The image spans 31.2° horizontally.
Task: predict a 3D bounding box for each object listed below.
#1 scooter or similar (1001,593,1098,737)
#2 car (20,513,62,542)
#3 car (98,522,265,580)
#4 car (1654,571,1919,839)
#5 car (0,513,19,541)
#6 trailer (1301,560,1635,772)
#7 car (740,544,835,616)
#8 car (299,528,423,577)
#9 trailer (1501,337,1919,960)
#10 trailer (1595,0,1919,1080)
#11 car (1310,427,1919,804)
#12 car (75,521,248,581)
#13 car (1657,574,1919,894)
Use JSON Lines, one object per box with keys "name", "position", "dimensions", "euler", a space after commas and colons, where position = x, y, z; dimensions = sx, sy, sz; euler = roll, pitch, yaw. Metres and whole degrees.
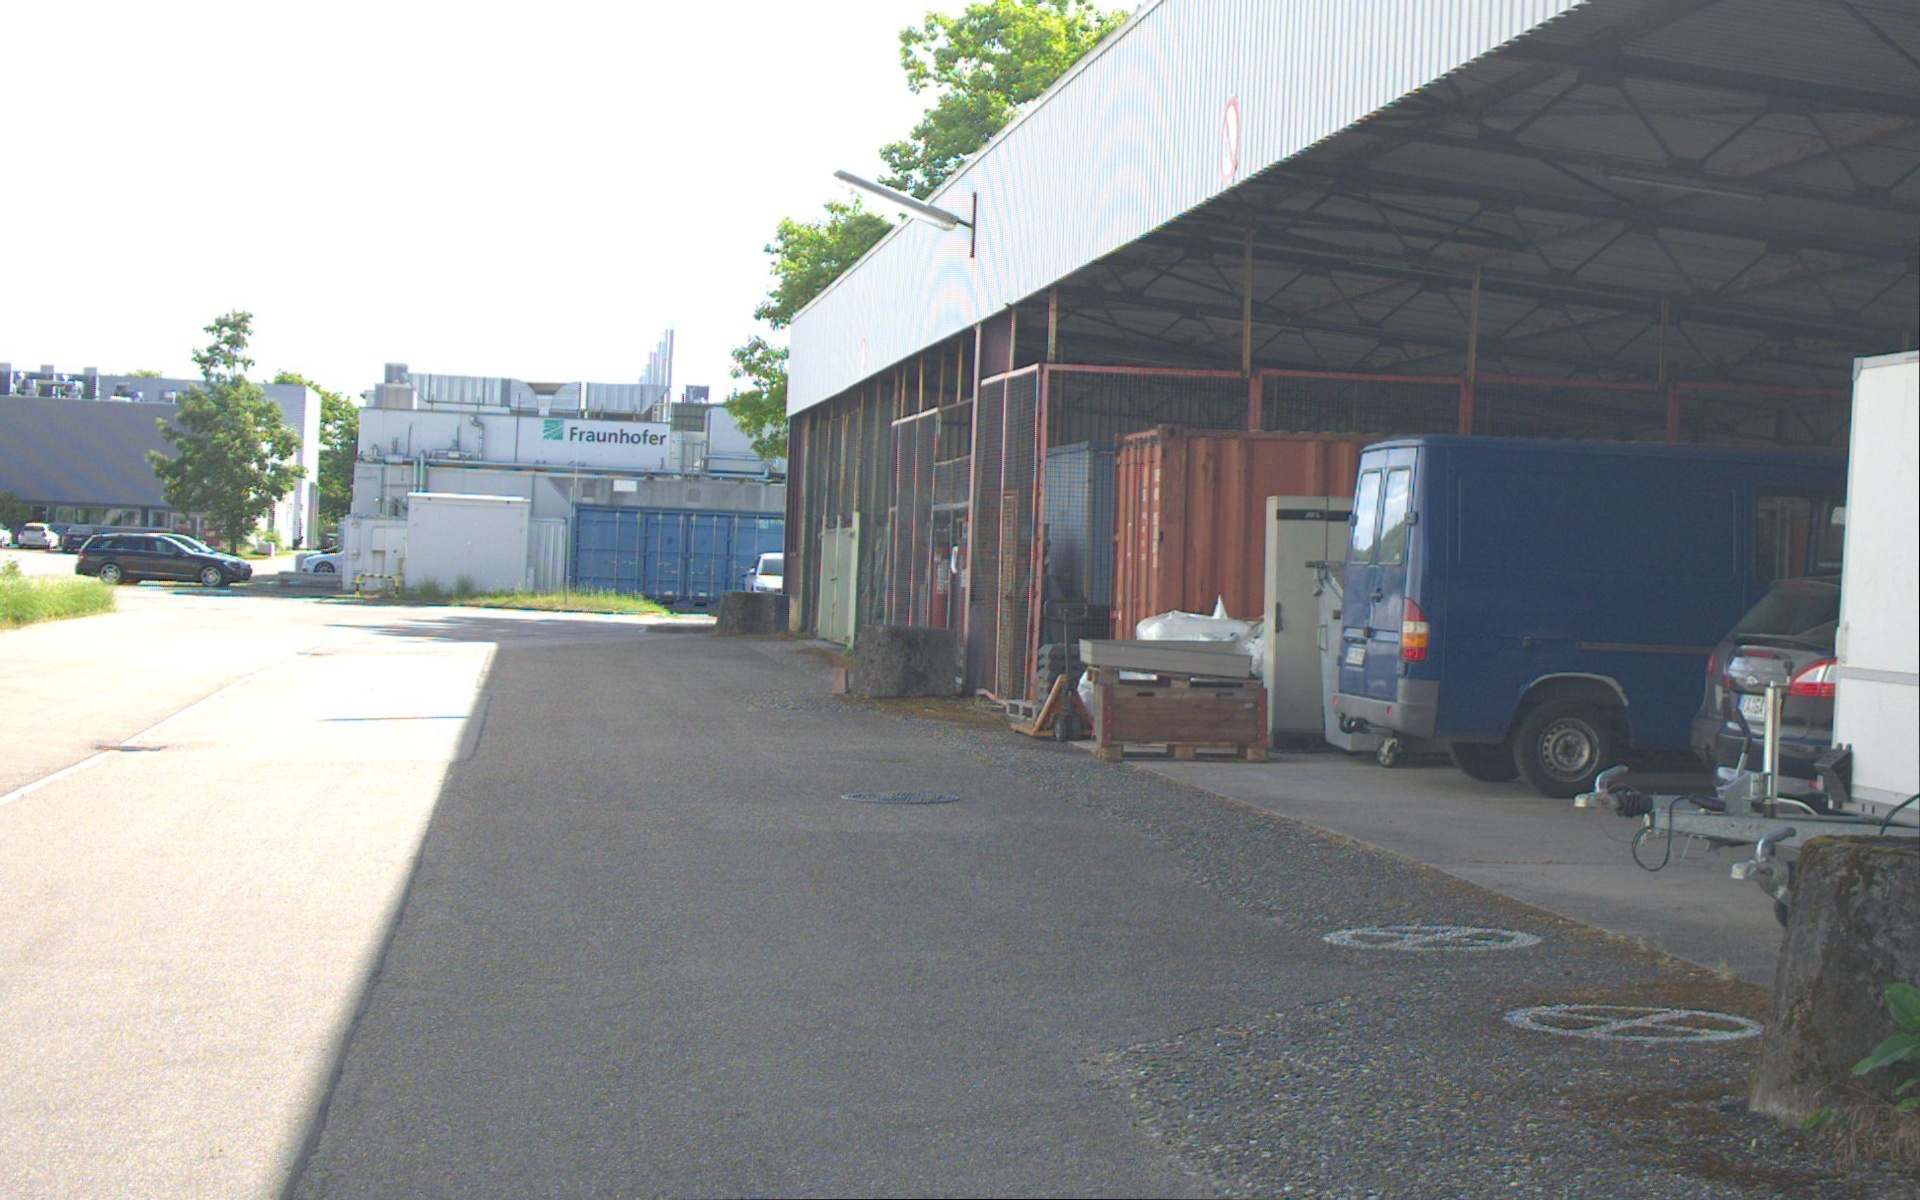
{"name": "scooter or similar", "position": [0.727, 0.514, 28.214], "dimensions": [0.520, 1.131, 1.593], "euler": [2, 0, -8]}
{"name": "car", "position": [-51.159, -4.016, 191.357], "dimensions": [1.877, 1.532, 4.037], "euler": [1, 1, -10]}
{"name": "car", "position": [-22.709, -1.421, 100.384], "dimensions": [4.528, 1.438, 1.904], "euler": [2, -1, -7]}
{"name": "car", "position": [6.303, 0.586, 19.847], "dimensions": [4.106, 1.449, 1.851], "euler": [1, 0, -7]}
{"name": "car", "position": [-53.442, -4.044, 190.853], "dimensions": [1.877, 1.532, 4.037], "euler": [1, 1, -10]}
{"name": "trailer", "position": [3.712, 0.472, 25.377], "dimensions": [2.094, 1.457, 1.642], "euler": [2, 0, -4]}
{"name": "car", "position": [-4.380, -0.521, 86.669], "dimensions": [1.980, 1.588, 4.342], "euler": [3, 2, -8]}
{"name": "car", "position": [-21.781, -1.707, 125.176], "dimensions": [4.278, 1.564, 1.988], "euler": [2, -1, -7]}
{"name": "trailer", "position": [4.658, 0.196, 13.941], "dimensions": [4.541, 2.327, 1.689], "euler": [1, 1, -6]}
{"name": "trailer", "position": [7.602, -0.218, 11.751], "dimensions": [10.291, 3.284, 2.676], "euler": [1, 1, -6]}
{"name": "car", "position": [5.162, 0.125, 22.925], "dimensions": [5.215, 2.289, 2.084], "euler": [2, 0, -8]}
{"name": "car", "position": [-22.531, -1.374, 97.123], "dimensions": [4.528, 1.438, 1.988], "euler": [2, -1, -7]}
{"name": "car", "position": [5.811, 0.621, 16.706], "dimensions": [4.342, 1.428, 1.865], "euler": [1, 0, -10]}
